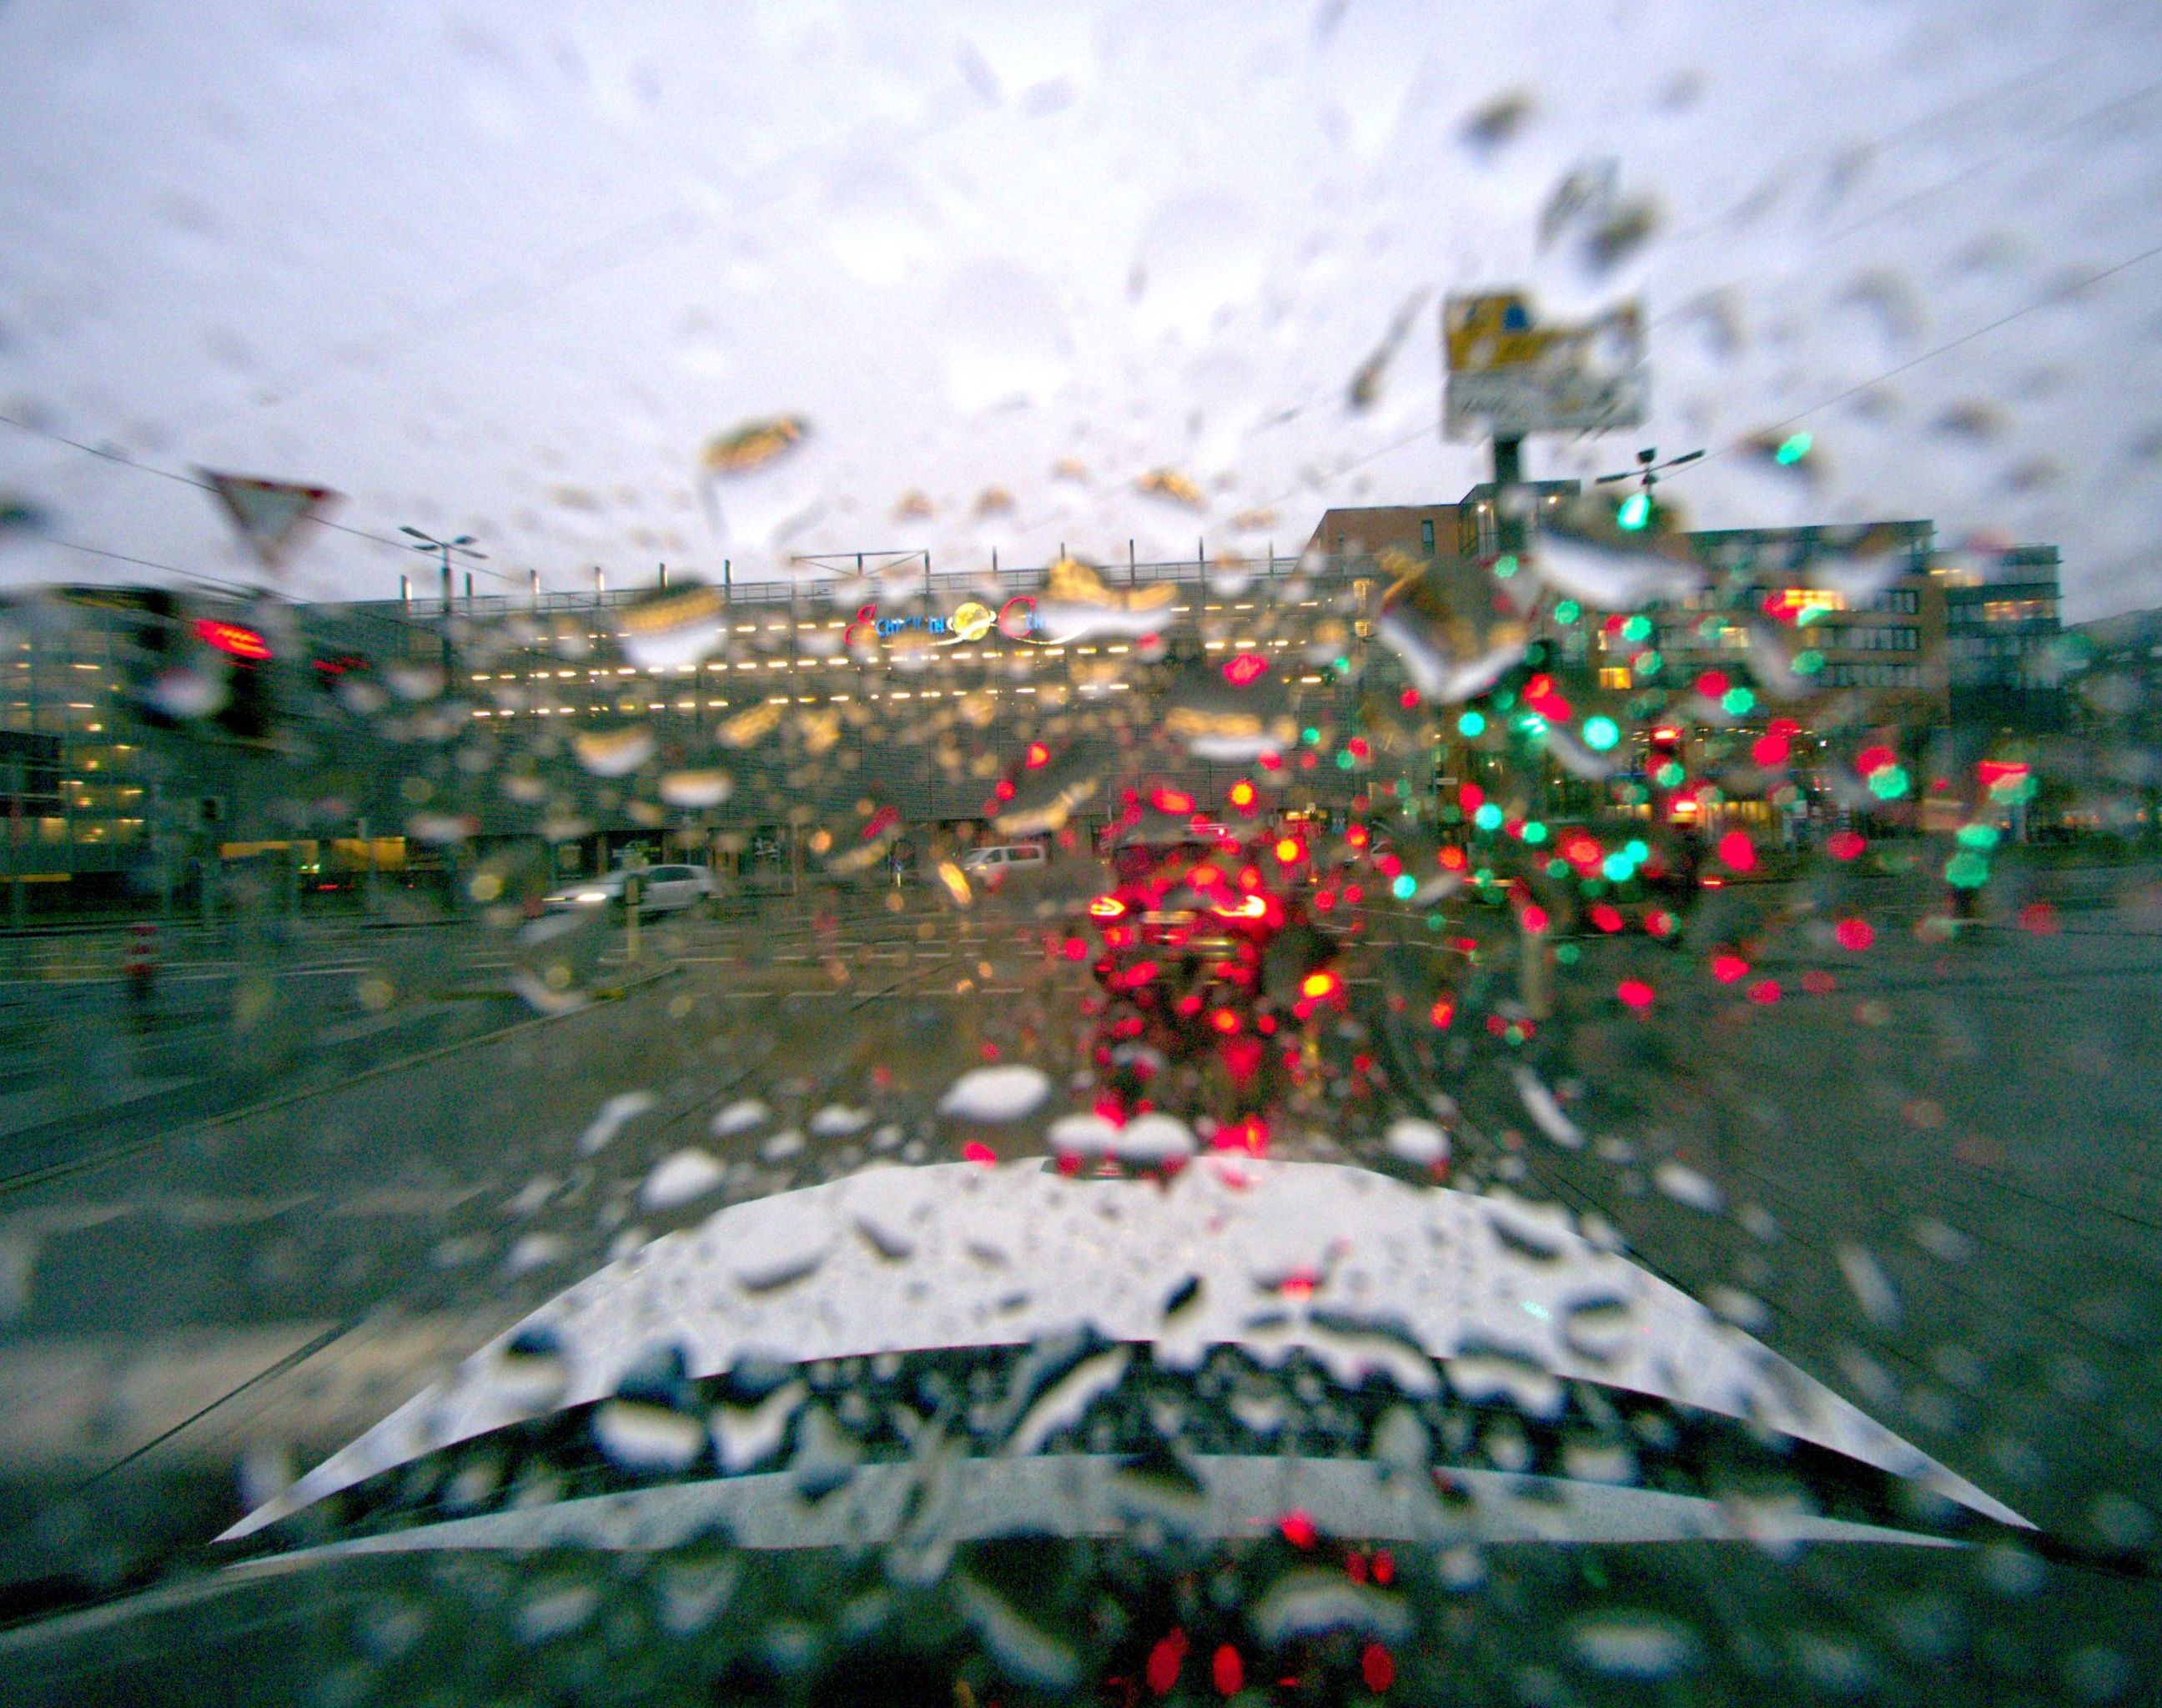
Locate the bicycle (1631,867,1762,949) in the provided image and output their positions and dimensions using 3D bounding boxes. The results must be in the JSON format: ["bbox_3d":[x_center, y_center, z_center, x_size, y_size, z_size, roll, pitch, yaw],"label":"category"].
[{"bbox_3d":[8.355,0.698,11.154,0.651,0.973,1.872,-2,0,11],"label":"bicycle"}]

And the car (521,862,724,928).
[{"bbox_3d":[-11.901,1.011,21.499,1.843,1.486,4.366,-2,0,24],"label":"car"}]

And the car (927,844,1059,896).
[{"bbox_3d":[-3.731,0.647,35.548,5.694,2.059,1.929,-2,-1,-44],"label":"car"}]

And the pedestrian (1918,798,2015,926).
[{"bbox_3d":[13.408,0.122,12.356,0.766,1.877,0.639,-2,-1,27],"label":"pedestrian"}]

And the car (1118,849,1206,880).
[{"bbox_3d":[4.333,0.535,43.356,4.427,1.444,1.617,-2,0,-23],"label":"car"}]

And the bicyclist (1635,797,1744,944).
[{"bbox_3d":[8.262,0.219,11.105,0.785,1.890,0.992,-2,-1,11],"label":"bicyclist"}]

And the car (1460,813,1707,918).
[{"bbox_3d":[9.826,0.166,15.923,4.492,1.806,1.835,-2,0,-23],"label":"car"}]

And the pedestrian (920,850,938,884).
[{"bbox_3d":[-10.998,0.930,58.947,1.105,2.439,0.967,0,-1,4],"label":"pedestrian"}]

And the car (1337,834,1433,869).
[{"bbox_3d":[16.671,-0.130,44.825,4.577,1.719,1.930,-2,0,2],"label":"car"}]

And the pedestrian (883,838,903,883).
[{"bbox_3d":[-12.414,0.455,53.869,0.958,2.925,1.115,0,-1,4],"label":"pedestrian"}]

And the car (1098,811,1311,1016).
[{"bbox_3d":[1.619,0.523,9.263,1.660,1.779,4.020,0,0,19],"label":"car"}]
